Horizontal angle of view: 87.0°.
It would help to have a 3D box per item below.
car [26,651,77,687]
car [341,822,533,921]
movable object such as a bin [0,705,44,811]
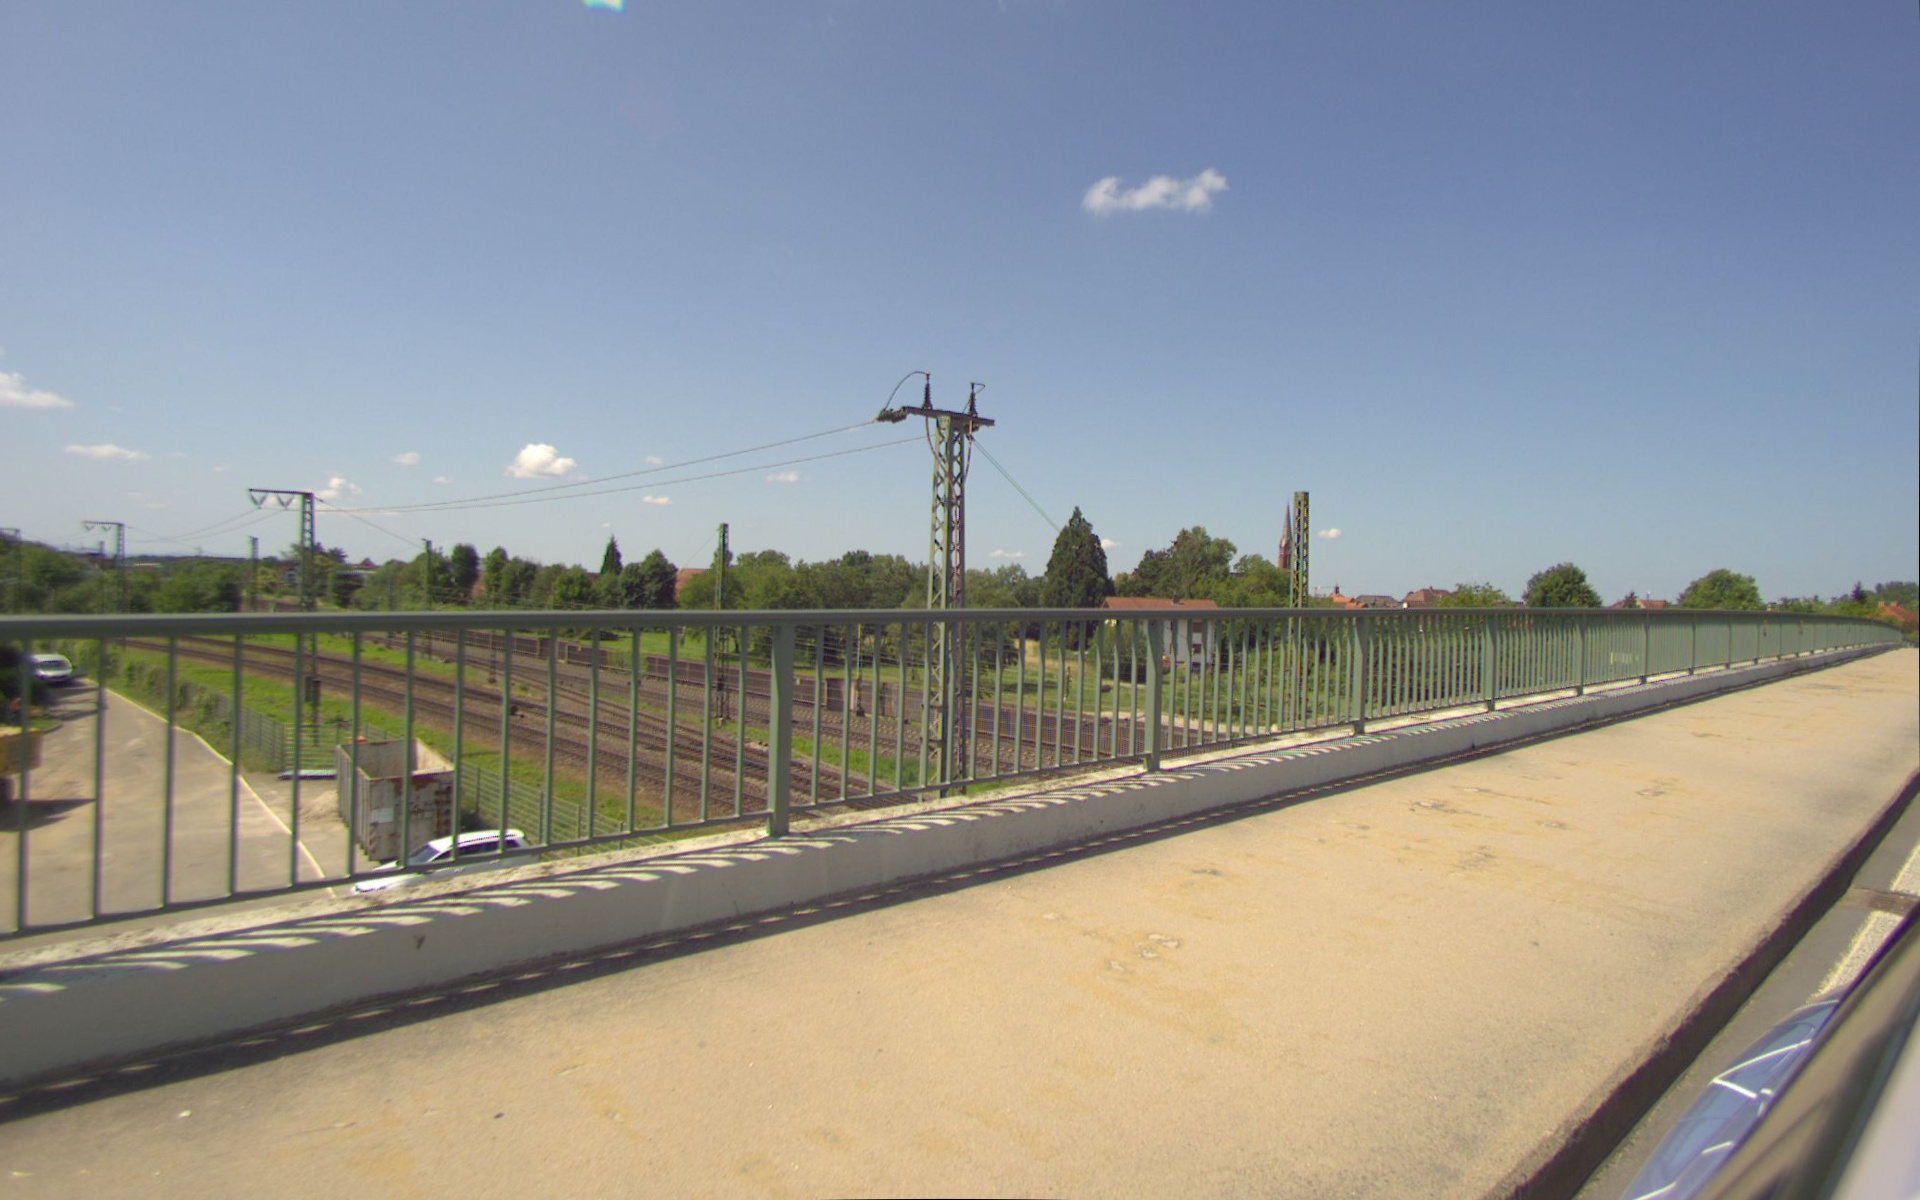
[{"bbox_3d":[-62.135,4.679,69.186,3.980,2.038,1.972,3,2,38],"label":"car"},{"bbox_3d":[-13.821,7.110,26.876,4.171,1.616,1.995,1,-4,-42],"label":"car"},{"bbox_3d":[-34.017,5.472,33.311,3.179,3.331,6.237,3,0,-16],"label":"movable object such as a bin"}]
